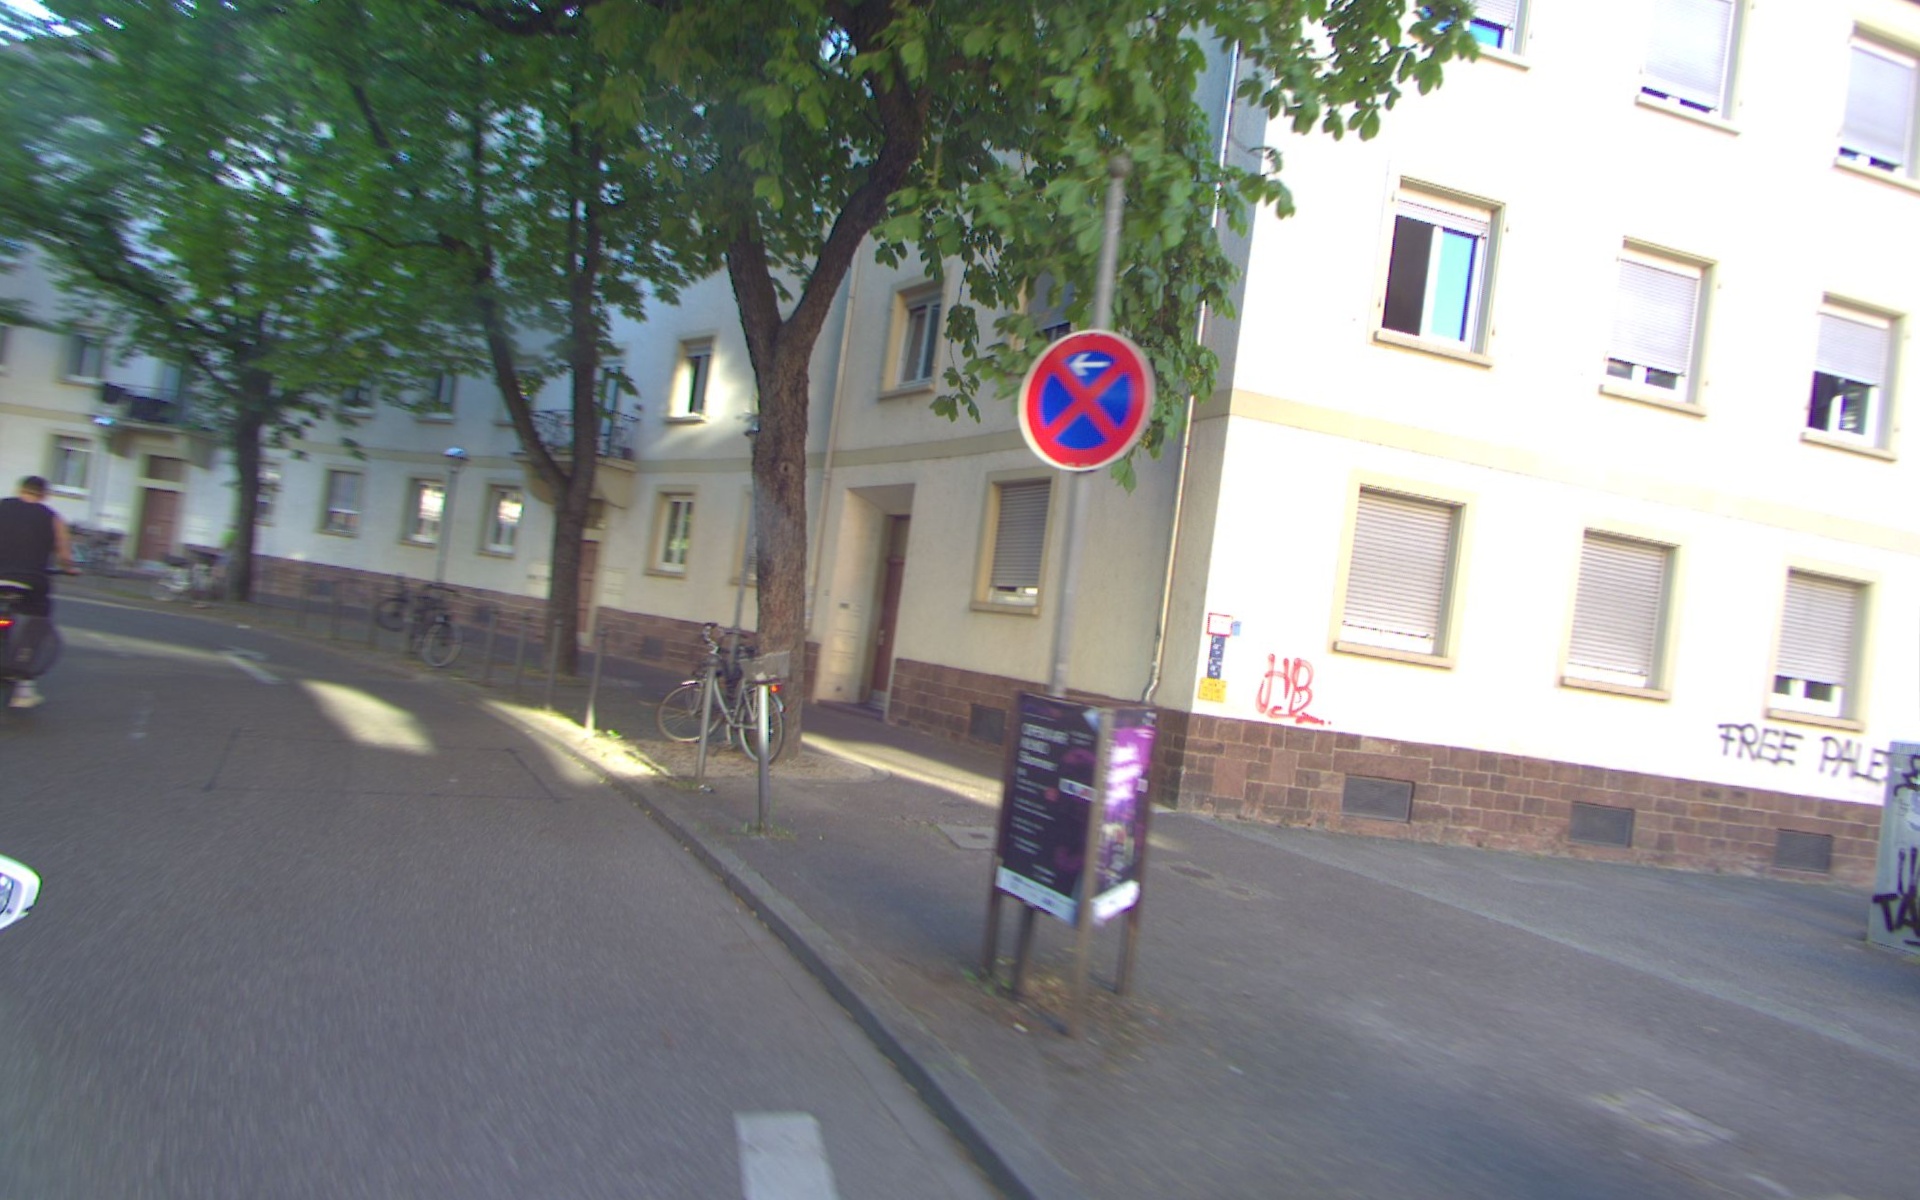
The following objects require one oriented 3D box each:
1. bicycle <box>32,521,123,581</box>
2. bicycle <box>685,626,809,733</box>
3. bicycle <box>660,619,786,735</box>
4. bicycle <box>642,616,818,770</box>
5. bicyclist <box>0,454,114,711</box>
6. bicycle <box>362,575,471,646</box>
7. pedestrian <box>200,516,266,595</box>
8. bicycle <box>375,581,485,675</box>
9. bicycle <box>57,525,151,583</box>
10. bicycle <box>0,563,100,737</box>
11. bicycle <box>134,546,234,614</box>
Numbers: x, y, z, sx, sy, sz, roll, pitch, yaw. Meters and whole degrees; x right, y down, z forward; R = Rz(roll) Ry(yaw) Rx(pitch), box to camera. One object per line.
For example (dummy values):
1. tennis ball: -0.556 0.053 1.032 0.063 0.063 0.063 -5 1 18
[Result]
1. bicycle: -21.331 -1.184 24.315 2.077 1.187 0.495 7 2 14
2. bicycle: -2.752 0.993 12.865 1.777 1.122 0.391 6 -2 40
3. bicycle: -2.966 0.927 12.491 1.760 1.194 0.437 6 -2 41
4. bicycle: -2.207 0.849 9.513 1.765 1.196 0.553 6 -2 41
5. bicyclist: -6.702 -0.137 7.216 0.749 1.701 0.904 9 -2 -38
6. bicycle: -10.655 0.206 19.743 1.787 1.197 0.674 6 0 12
7. pedestrian: -18.307 -1.104 25.350 0.647 1.816 0.998 7 0 13
8. bicycle: -7.889 0.395 14.929 1.973 1.172 0.679 6 -1 42
9. bicycle: -21.187 -1.141 24.908 2.077 1.127 0.584 8 -1 14
10. bicycle: -6.820 0.303 7.279 0.734 1.024 2.039 8 -1 -38
11. bicycle: -15.585 -0.396 20.203 1.955 1.127 0.617 7 2 21
